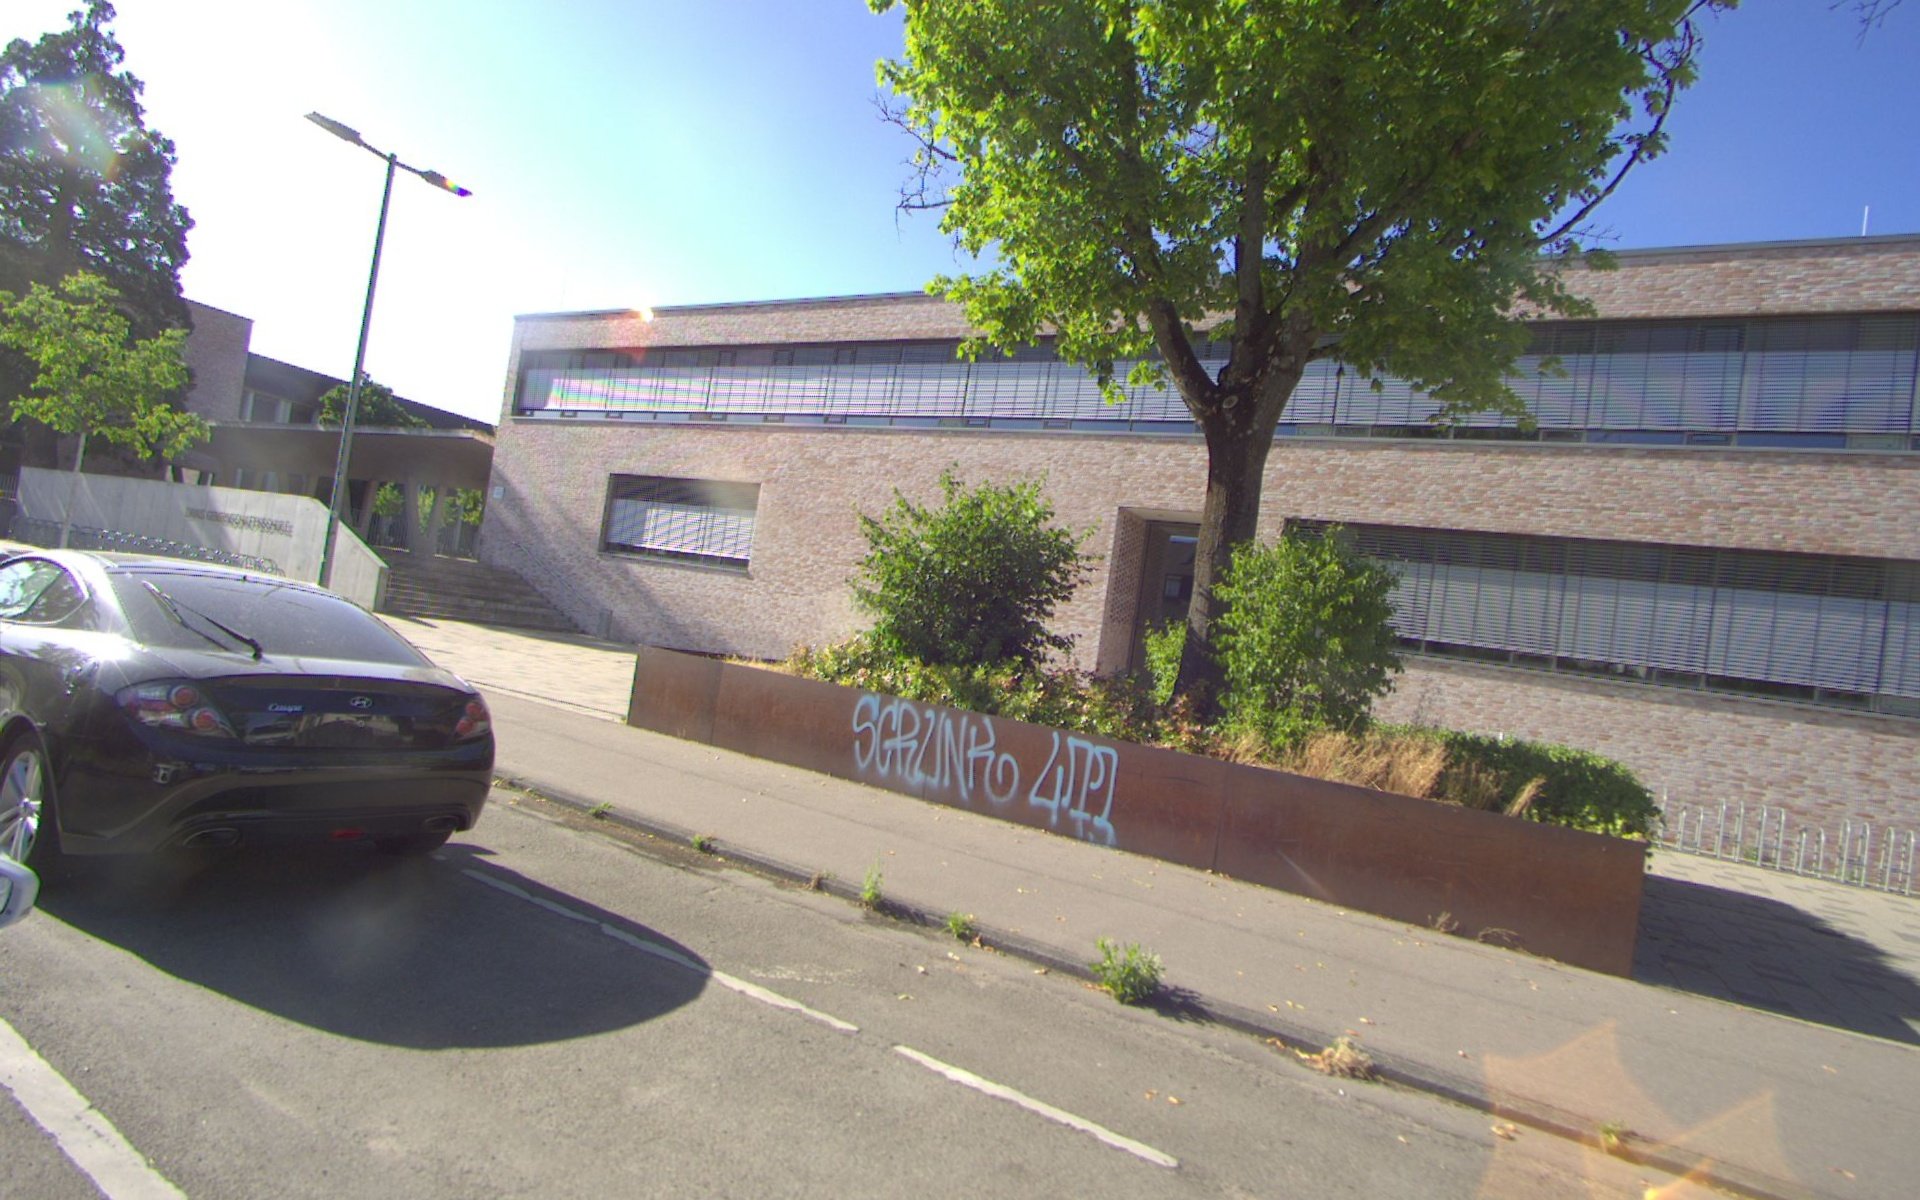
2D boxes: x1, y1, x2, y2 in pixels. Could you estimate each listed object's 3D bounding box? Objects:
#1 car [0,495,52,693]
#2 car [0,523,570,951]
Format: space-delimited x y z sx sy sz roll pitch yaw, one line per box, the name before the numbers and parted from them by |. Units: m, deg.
car | -9.353 -0.334 8.185 4.104 1.494 1.706 7 -3 32
car | -4.145 0.424 5.218 4.060 1.339 1.706 7 -3 31
